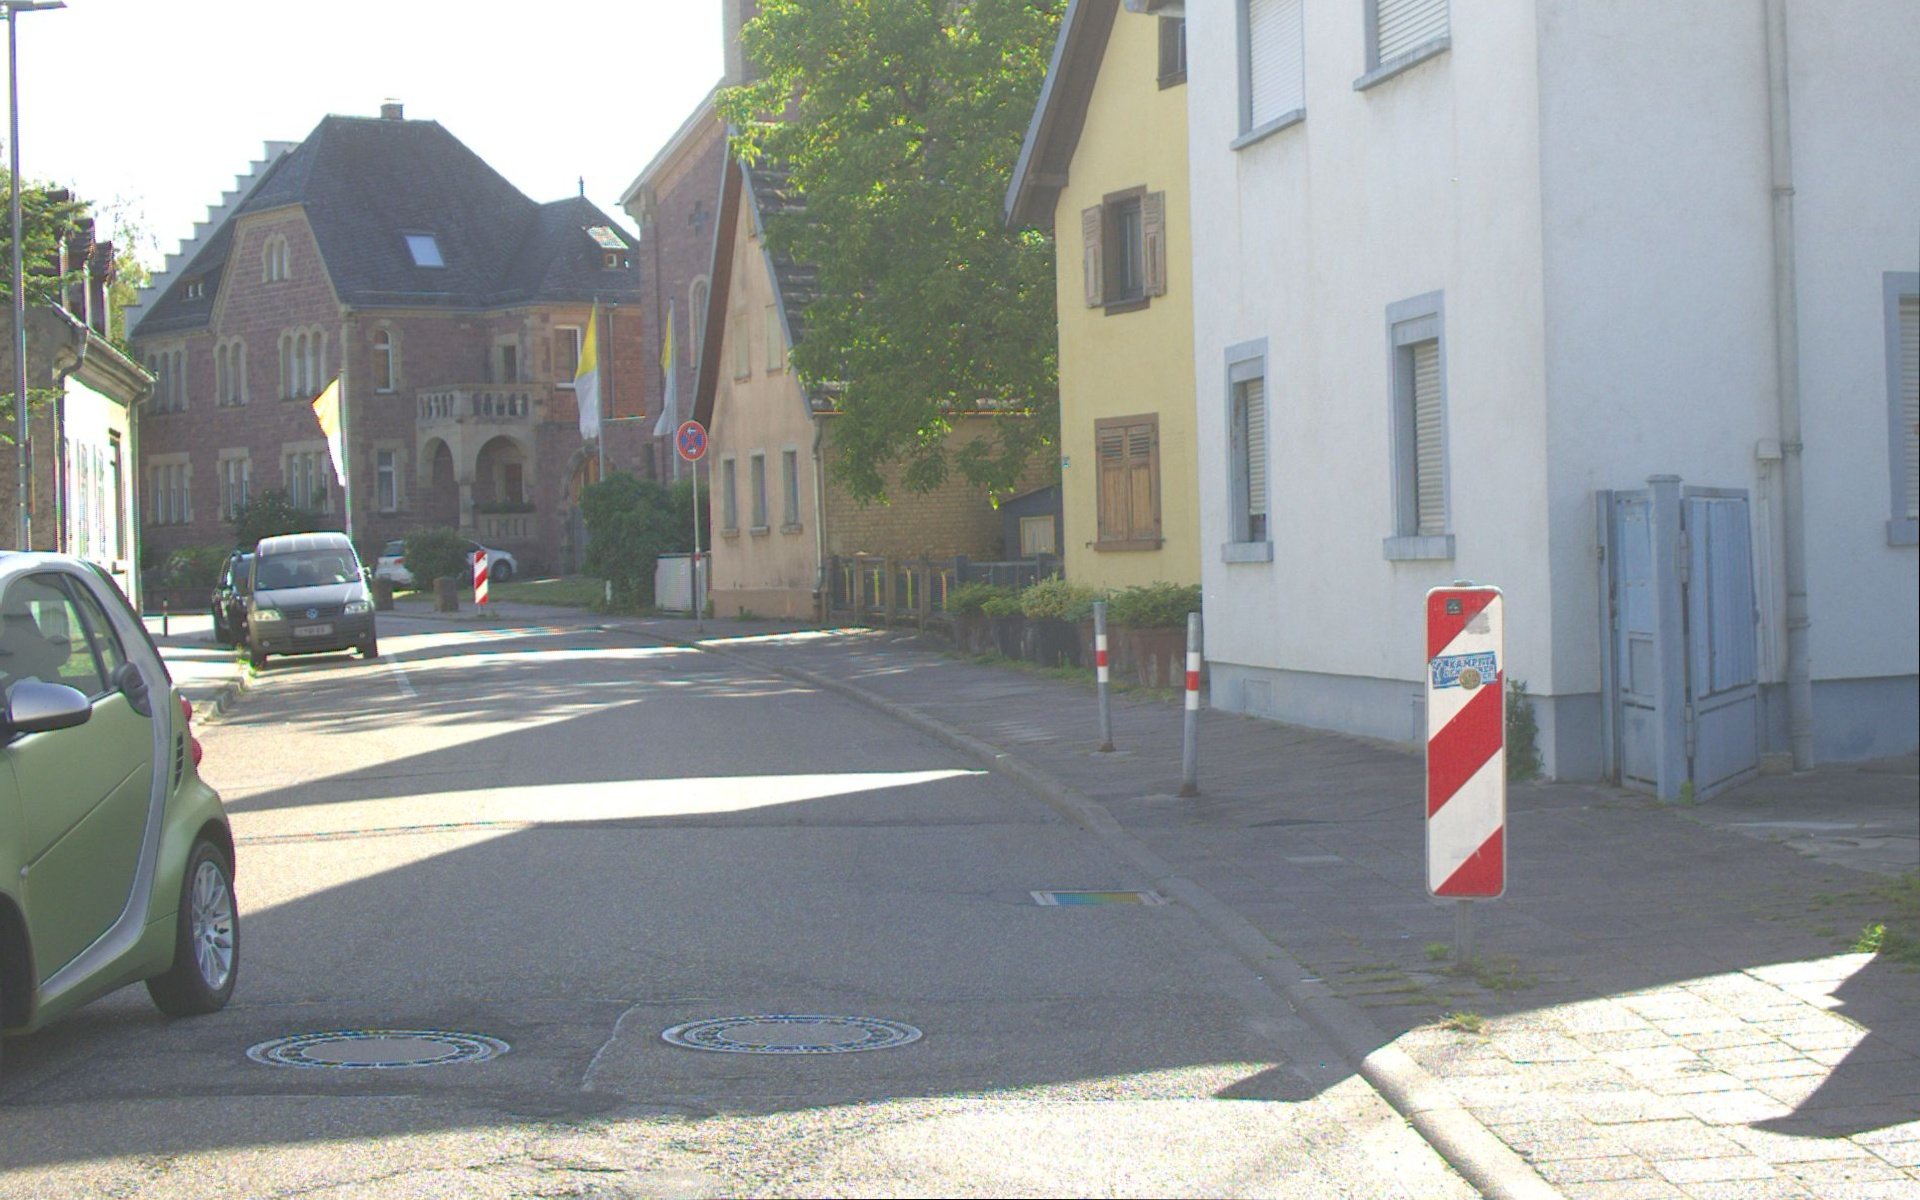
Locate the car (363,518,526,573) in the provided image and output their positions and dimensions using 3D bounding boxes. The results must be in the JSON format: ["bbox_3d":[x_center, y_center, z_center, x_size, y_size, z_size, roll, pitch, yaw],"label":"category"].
[{"bbox_3d":[-14.461,-1.529,96.534,4.236,1.396,1.717,-3,2,-41],"label":"car"}]

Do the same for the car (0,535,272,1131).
[{"bbox_3d":[-3.280,0.644,10.201,1.574,1.541,2.965,-3,2,5],"label":"car"}]

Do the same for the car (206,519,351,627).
[{"bbox_3d":[-12.075,-0.488,60.756,1.825,1.726,4.203,-4,2,-19],"label":"car"}]

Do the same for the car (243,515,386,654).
[{"bbox_3d":[-9.322,-0.263,49.449,1.825,1.808,4.203,-4,2,-12],"label":"car"}]
